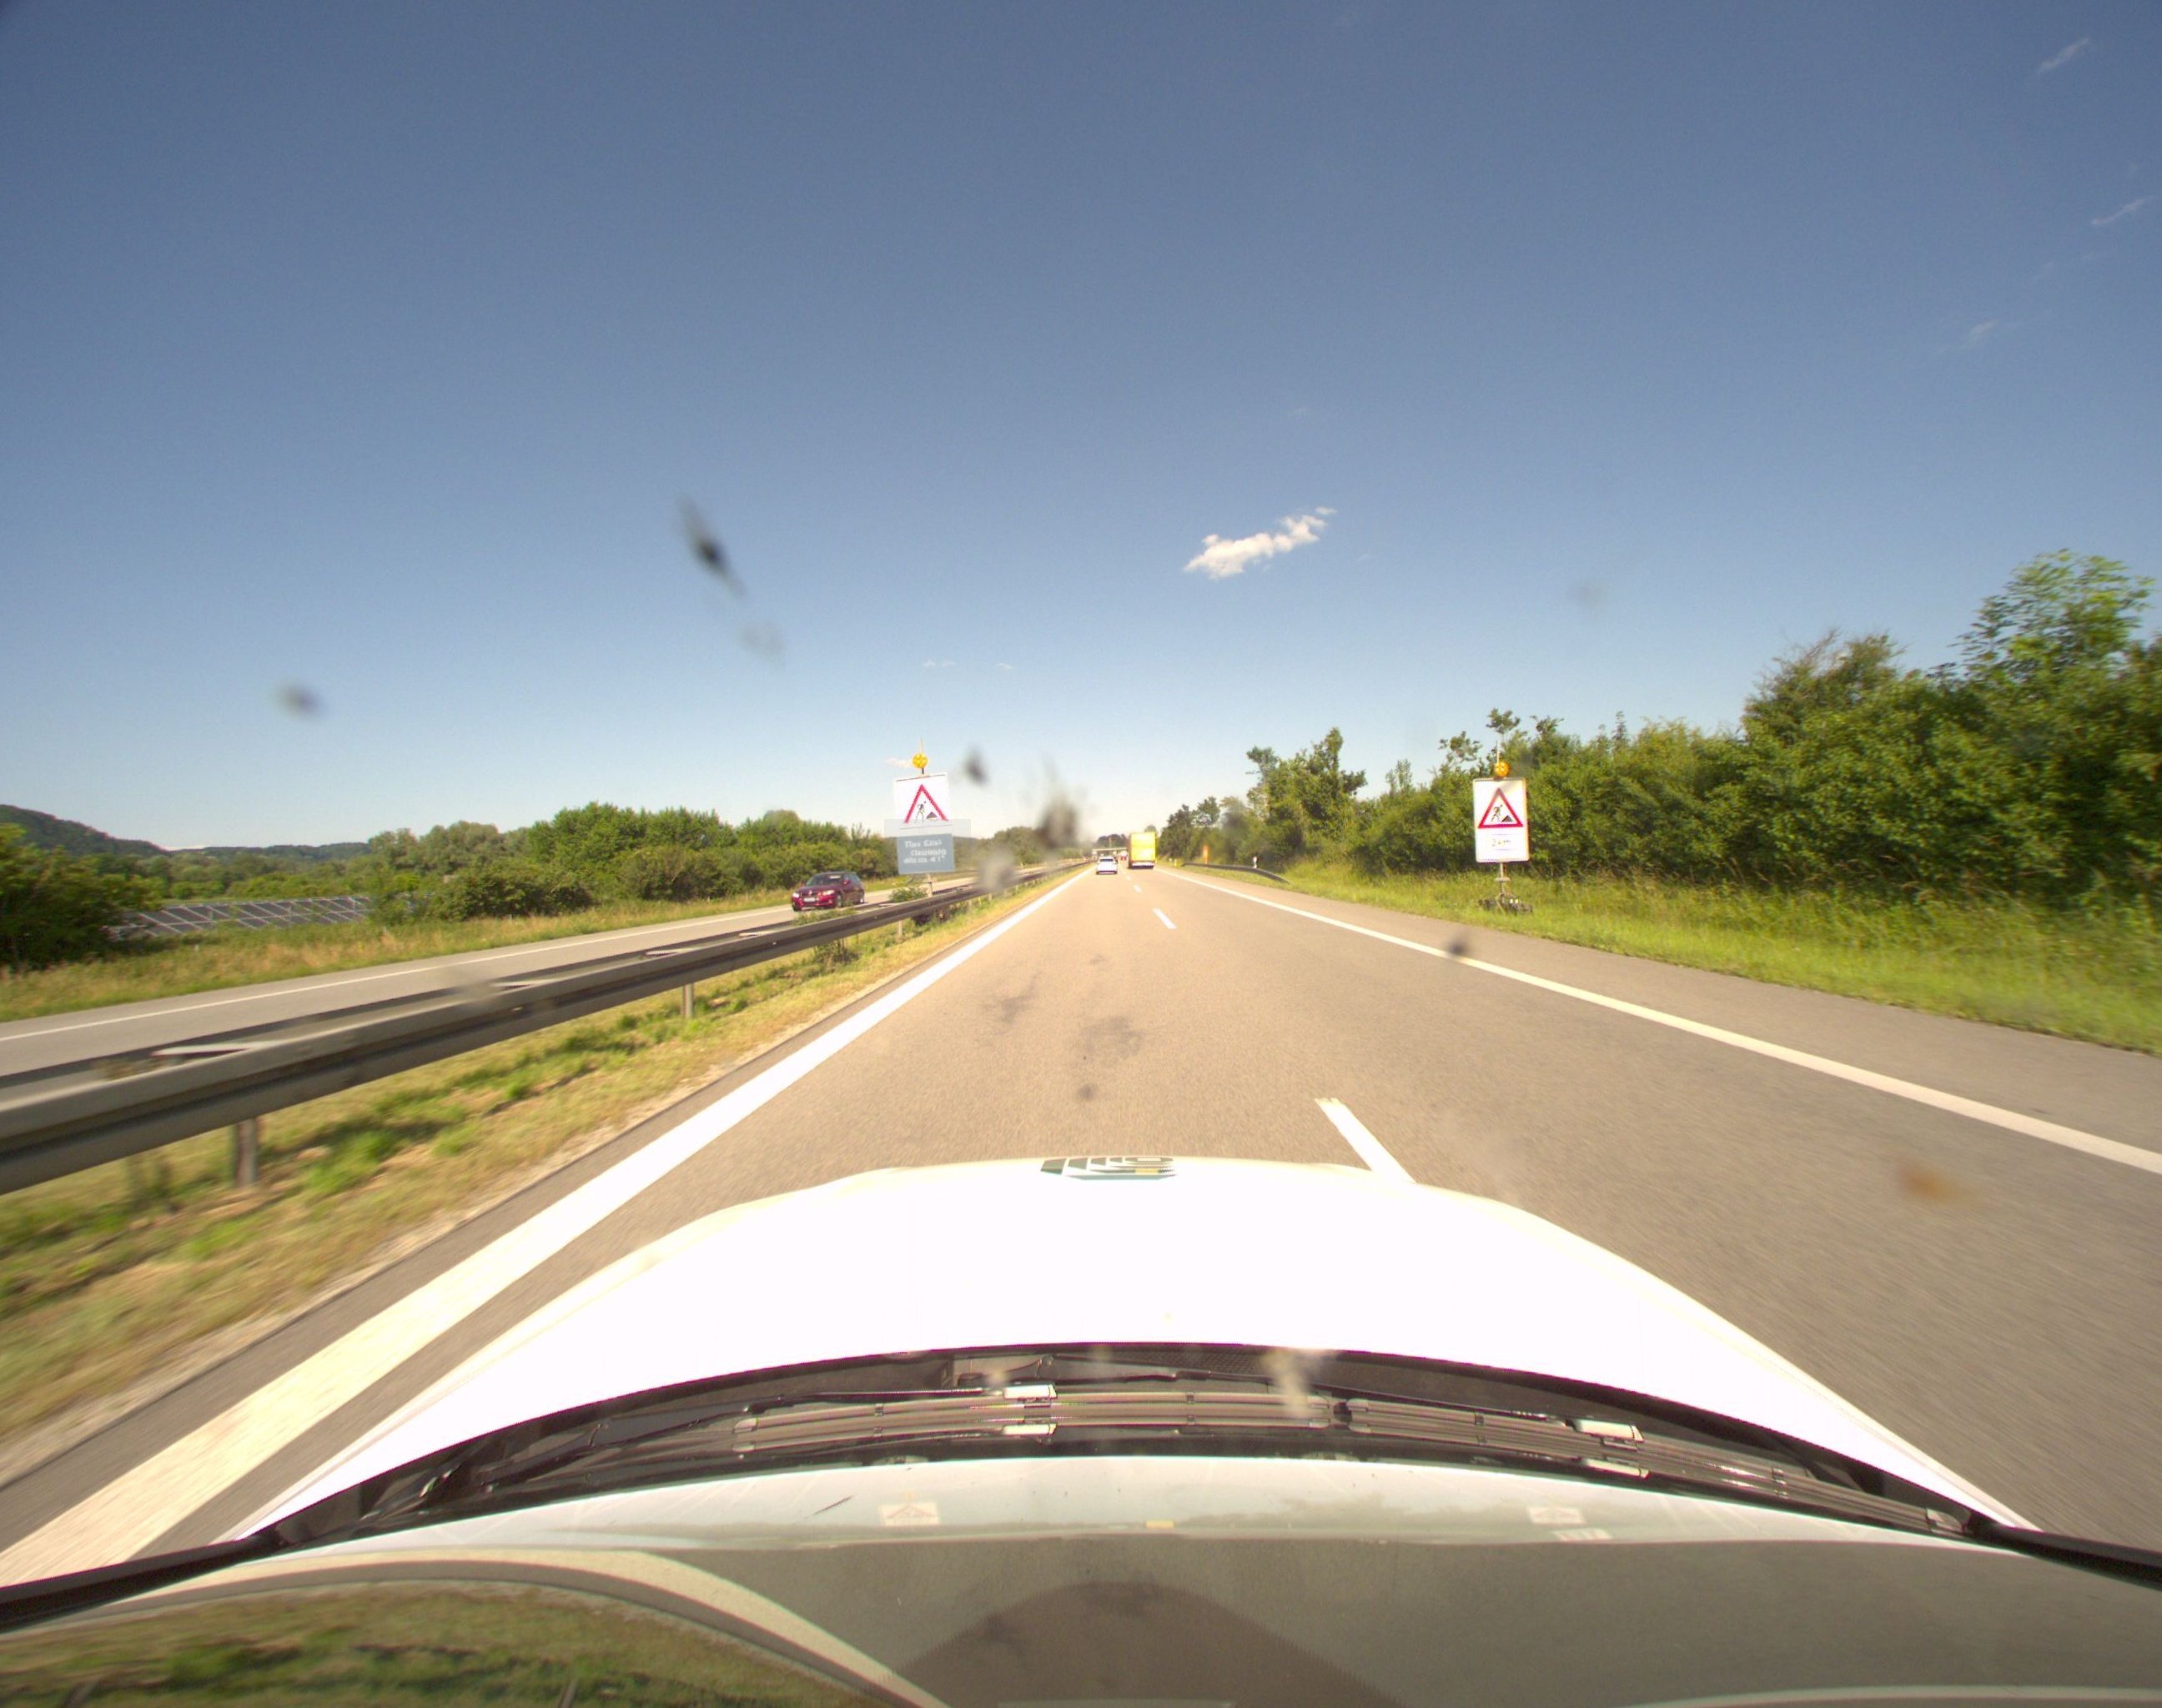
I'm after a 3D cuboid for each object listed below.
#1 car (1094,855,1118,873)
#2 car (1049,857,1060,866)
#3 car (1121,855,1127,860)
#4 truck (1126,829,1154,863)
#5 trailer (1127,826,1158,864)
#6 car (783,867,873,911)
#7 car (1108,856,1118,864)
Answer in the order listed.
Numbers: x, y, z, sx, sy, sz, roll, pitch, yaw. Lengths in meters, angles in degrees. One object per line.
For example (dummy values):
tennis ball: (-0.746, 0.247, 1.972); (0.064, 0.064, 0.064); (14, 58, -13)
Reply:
car: (2.119, 0.826, 68.411); (1.835, 1.415, 4.003); (0, 0, 3)
car: (-5.464, 1.492, 165.949); (1.823, 1.571, 4.658); (-3, -1, 2)
car: (13.550, 1.194, 258.139); (1.895, 1.683, 4.733); (1, 0, 2)
truck: (7.284, -0.916, 100.598); (3.157, 4.114, 6.390); (0, 0, 1)
trailer: (7.011, -0.959, 94.318); (3.172, 4.059, 13.194); (0, 0, 3)
car: (-9.879, 1.306, 32.223); (1.826, 1.398, 4.924); (-5, 0, 1)
car: (6.084, 1.177, 153.285); (1.835, 1.520, 4.003); (0, 0, 3)
